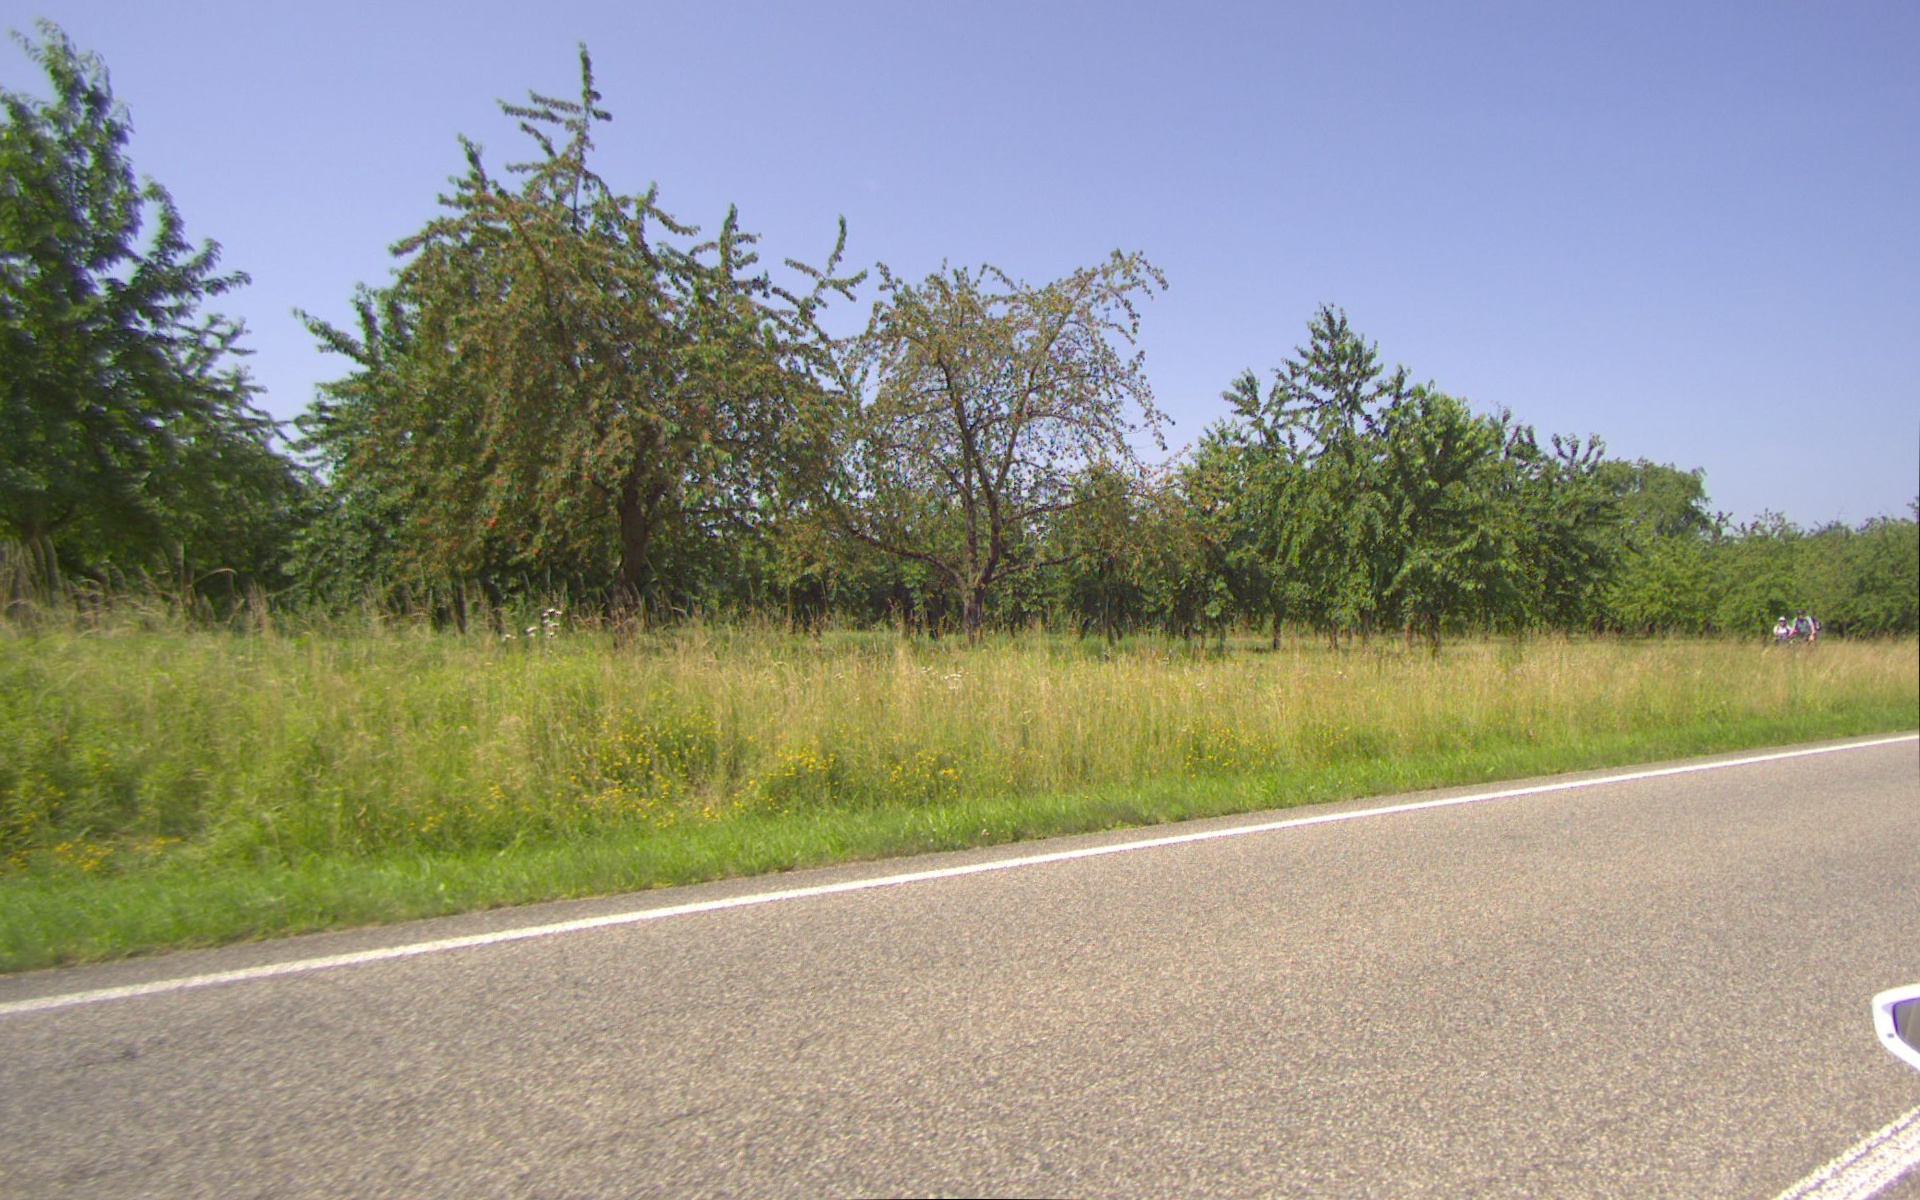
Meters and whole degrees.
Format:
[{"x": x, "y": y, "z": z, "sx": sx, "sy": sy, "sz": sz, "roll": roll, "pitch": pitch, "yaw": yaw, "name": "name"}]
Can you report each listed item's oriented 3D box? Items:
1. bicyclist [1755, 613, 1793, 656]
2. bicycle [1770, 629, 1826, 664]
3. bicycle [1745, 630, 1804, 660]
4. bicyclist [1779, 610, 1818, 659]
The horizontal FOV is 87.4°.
[{"x": 28.509, "y": 1.212, "z": 35.191, "sx": 0.728, "sy": 1.474, "sz": 0.864, "roll": 1, "pitch": -1, "yaw": 15, "name": "bicyclist"}, {"x": 25.170, "y": 1.402, "z": 30.171, "sx": 1.932, "sy": 1.002, "sz": 0.646, "roll": 2, "pitch": -1, "yaw": -30, "name": "bicycle"}, {"x": 28.485, "y": 1.553, "z": 35.162, "sx": 0.728, "sy": 1.002, "sz": 2.226, "roll": 1, "pitch": -1, "yaw": 14, "name": "bicycle"}, {"x": 25.186, "y": 1.042, "z": 30.179, "sx": 0.853, "sy": 1.433, "sz": 0.638, "roll": 2, "pitch": -1, "yaw": -29, "name": "bicyclist"}]
